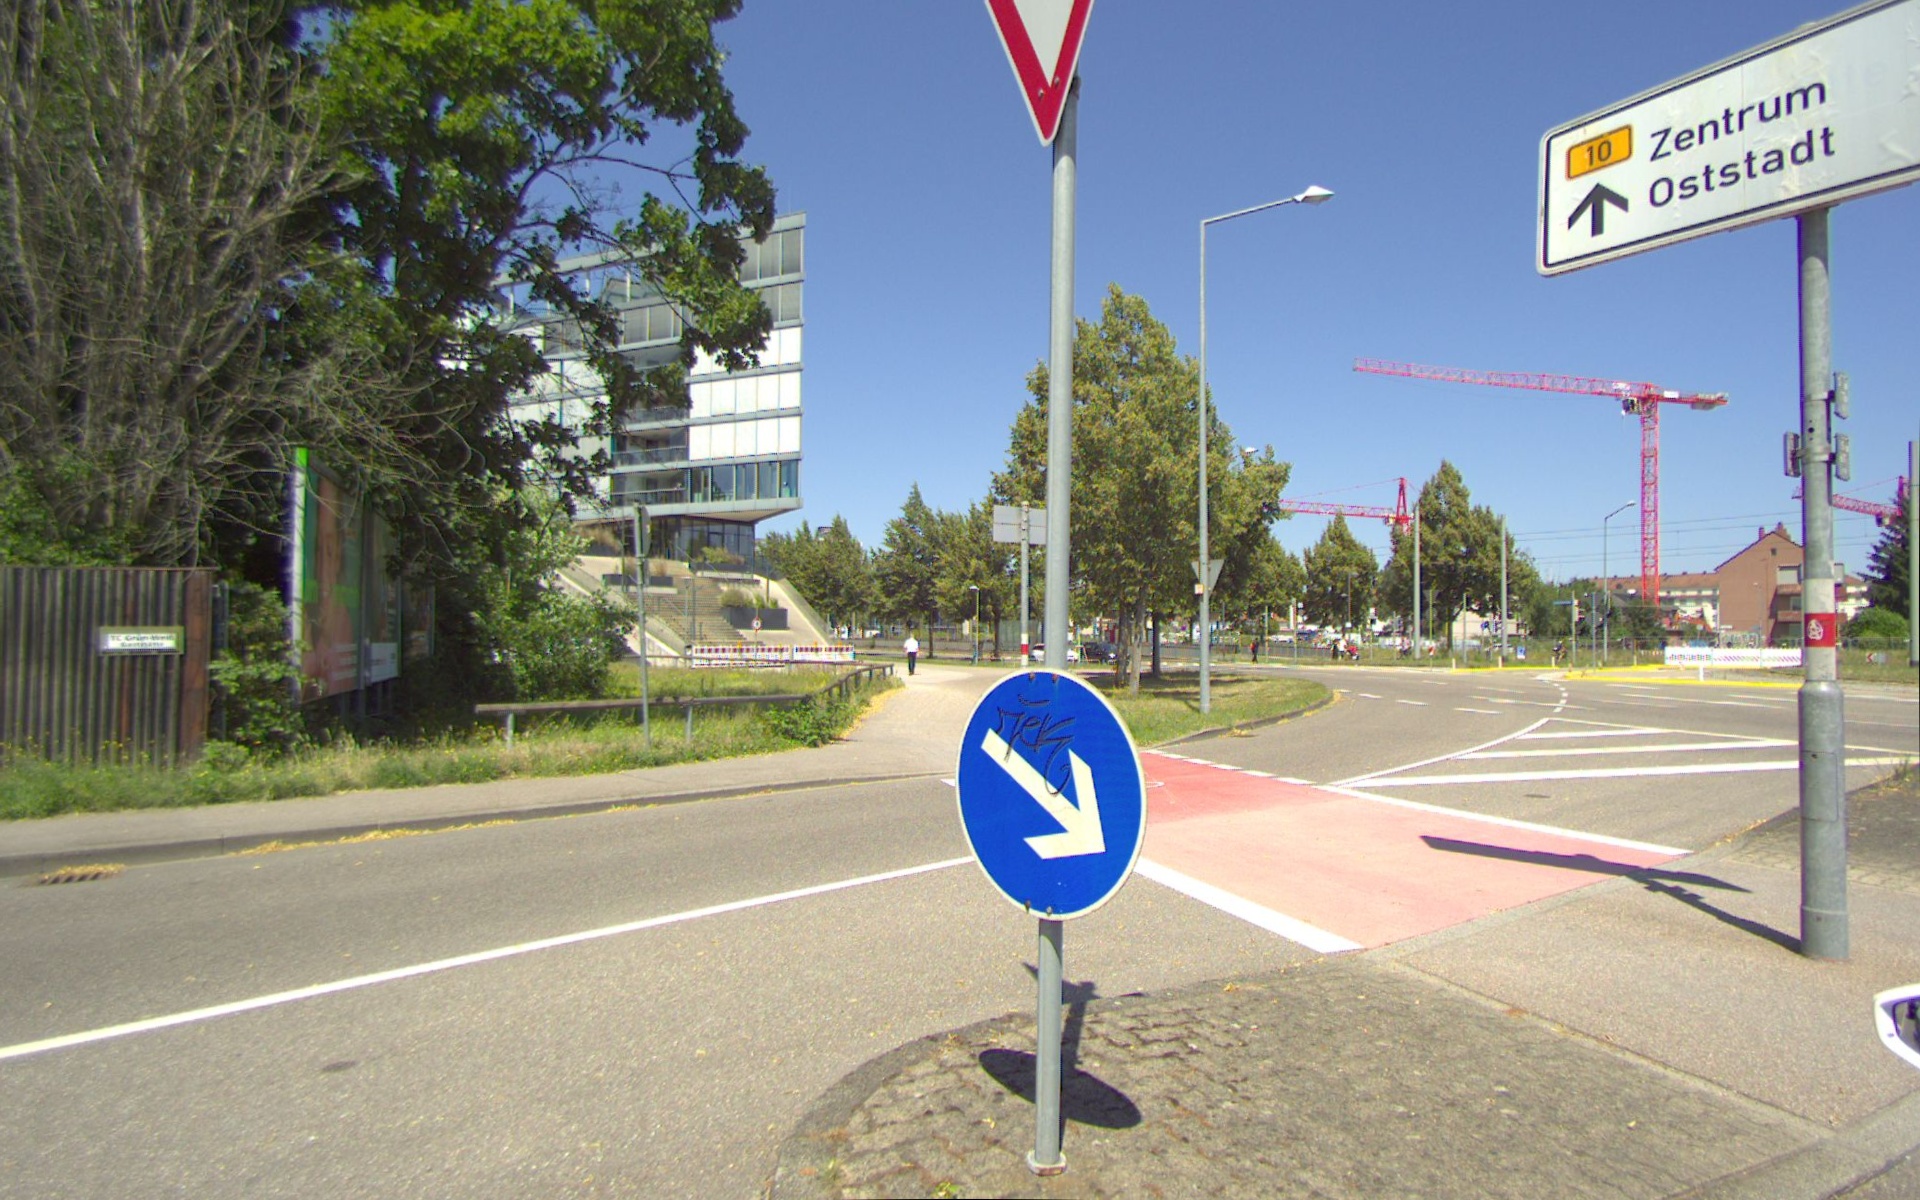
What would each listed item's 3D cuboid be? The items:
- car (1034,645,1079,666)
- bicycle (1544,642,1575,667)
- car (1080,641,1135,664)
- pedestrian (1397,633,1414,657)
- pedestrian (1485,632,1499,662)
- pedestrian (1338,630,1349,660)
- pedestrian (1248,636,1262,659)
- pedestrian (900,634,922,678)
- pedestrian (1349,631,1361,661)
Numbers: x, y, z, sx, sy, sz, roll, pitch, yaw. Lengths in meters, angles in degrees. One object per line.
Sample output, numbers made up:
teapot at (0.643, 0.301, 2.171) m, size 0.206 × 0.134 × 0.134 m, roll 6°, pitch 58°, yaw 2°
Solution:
car at (6.495, 3.717, 67.847) m, size 1.556 × 1.241 × 3.301 m, roll 2°, pitch -1°, yaw -26°
bicycle at (41.923, 3.812, 70.211) m, size 2.051 × 1.707 × 0.558 m, roll 2°, pitch -1°, yaw -14°
car at (9.196, 3.276, 62.913) m, size 1.718 × 1.228 × 3.542 m, roll 2°, pitch -1°, yaw -26°
pedestrian at (31.252, 3.158, 70.411) m, size 0.748 × 1.661 × 0.778 m, roll 2°, pitch -1°, yaw -16°
pedestrian at (37.611, 3.324, 71.045) m, size 0.587 × 2.040 × 0.599 m, roll 2°, pitch -1°, yaw -29°
pedestrian at (24.854, 2.909, 65.068) m, size 0.618 × 1.960 × 0.645 m, roll -1°, pitch -2°, yaw 27°
pedestrian at (18.606, 2.977, 63.336) m, size 0.589 × 1.424 × 0.540 m, roll 1°, pitch -2°, yaw -25°
pedestrian at (-2.165, 2.451, 44.294) m, size 0.821 × 1.893 × 0.610 m, roll 2°, pitch -1°, yaw -15°
pedestrian at (25.669, 2.988, 65.228) m, size 0.618 × 1.960 × 0.645 m, roll -1°, pitch -2°, yaw 27°
